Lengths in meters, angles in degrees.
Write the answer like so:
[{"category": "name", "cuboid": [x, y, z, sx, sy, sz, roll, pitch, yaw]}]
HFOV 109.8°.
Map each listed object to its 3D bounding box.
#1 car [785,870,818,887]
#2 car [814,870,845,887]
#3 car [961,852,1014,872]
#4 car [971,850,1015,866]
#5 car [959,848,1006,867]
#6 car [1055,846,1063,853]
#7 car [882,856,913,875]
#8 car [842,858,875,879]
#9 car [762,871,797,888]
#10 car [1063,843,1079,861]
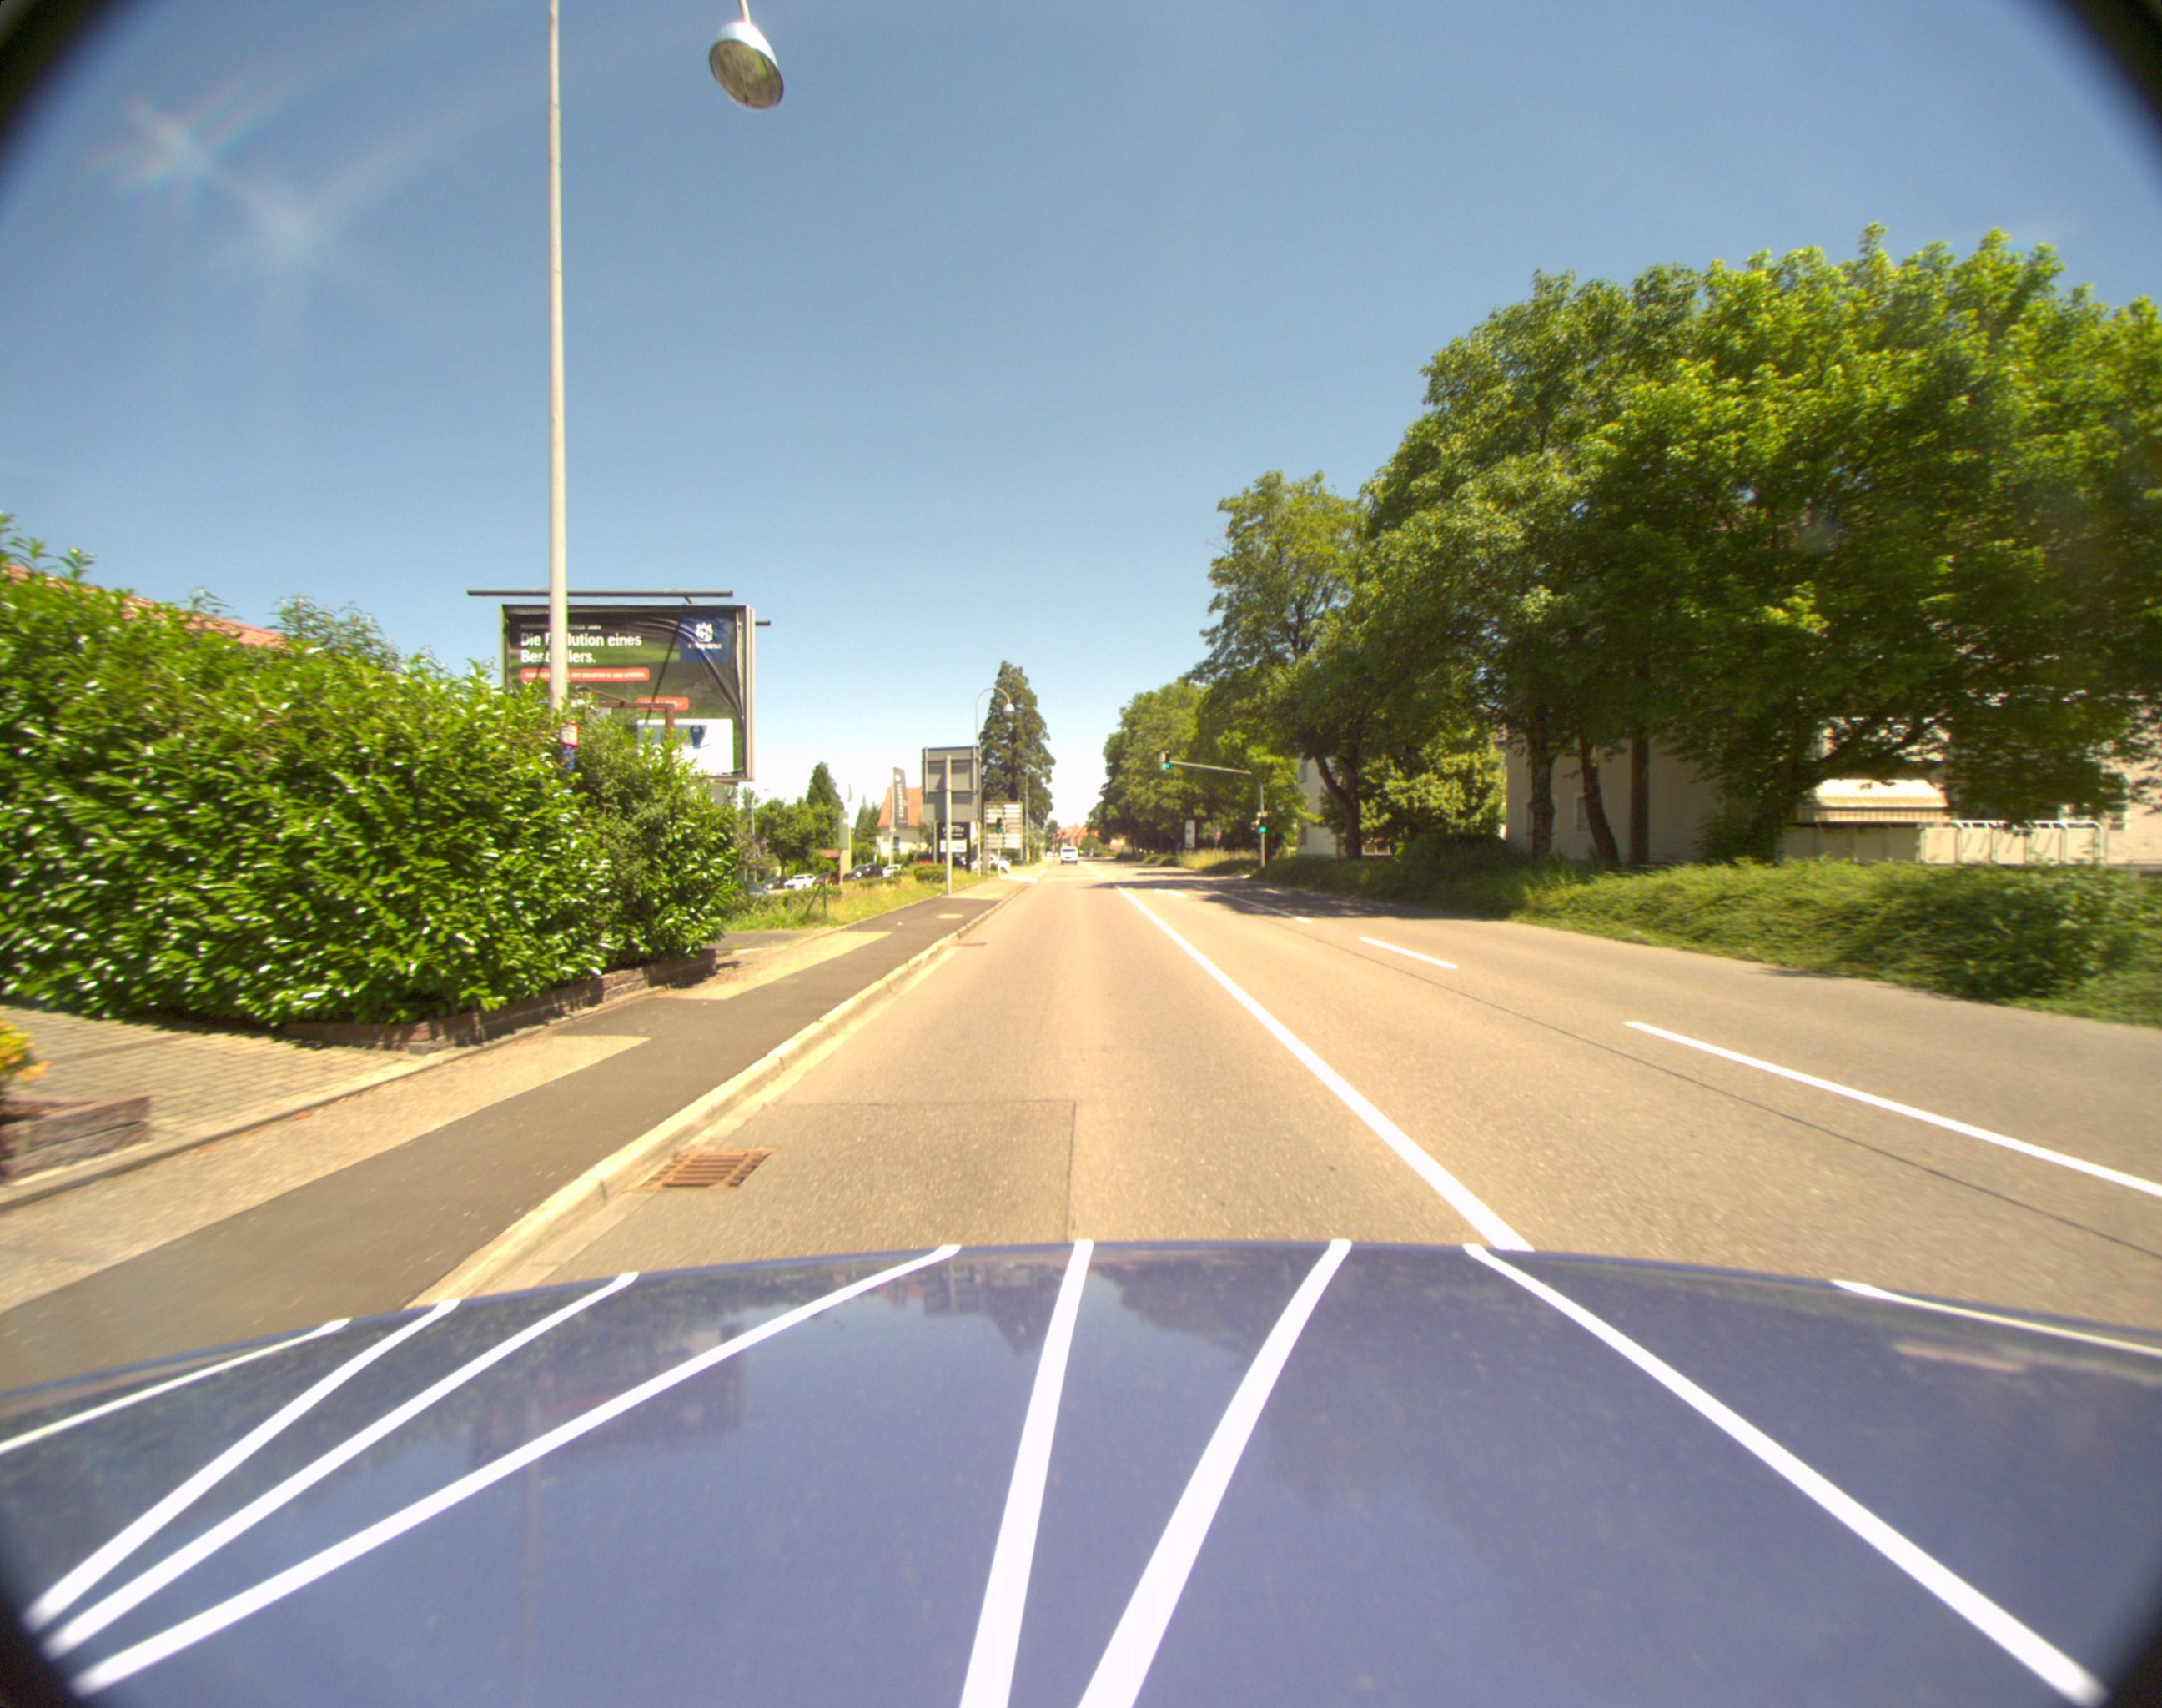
[{"category": "car", "cuboid": [-27.022, 2.359, 73.593, 1.836, 1.426, 3.699, -1, 1, 0]}, {"category": "car", "cuboid": [-24.280, 2.343, 73.474, 1.777, 1.426, 3.699, -1, 1, 0]}, {"category": "car", "cuboid": [-6.812, 0.544, 55.616, 3.637, 1.375, 1.627, -1, 1, 2]}, {"category": "car", "cuboid": [-7.753, 0.329, 67.241, 3.637, 1.375, 1.627, -1, 1, 2]}, {"category": "car", "cuboid": [-8.326, 0.311, 64.354, 3.637, 1.542, 1.627, -1, 1, 2]}, {"category": "car", "cuboid": [-5.812, -1.176, 203.236, 1.862, 2.002, 4.000, 0, 0, 2]}, {"category": "car", "cuboid": [-17.321, 1.030, 71.729, 1.697, 1.635, 3.700, -2, 1, 5]}, {"category": "car", "cuboid": [-18.731, 1.207, 64.078, 1.698, 1.635, 3.698, -2, 1, 0]}, {"category": "car", "cuboid": [-29.157, 2.443, 73.662, 1.776, 1.426, 3.699, -1, 1, 2]}, {"category": "car", "cuboid": [-1.148, -0.249, 87.719, 1.796, 1.904, 3.639, -1, 1, -1]}]
